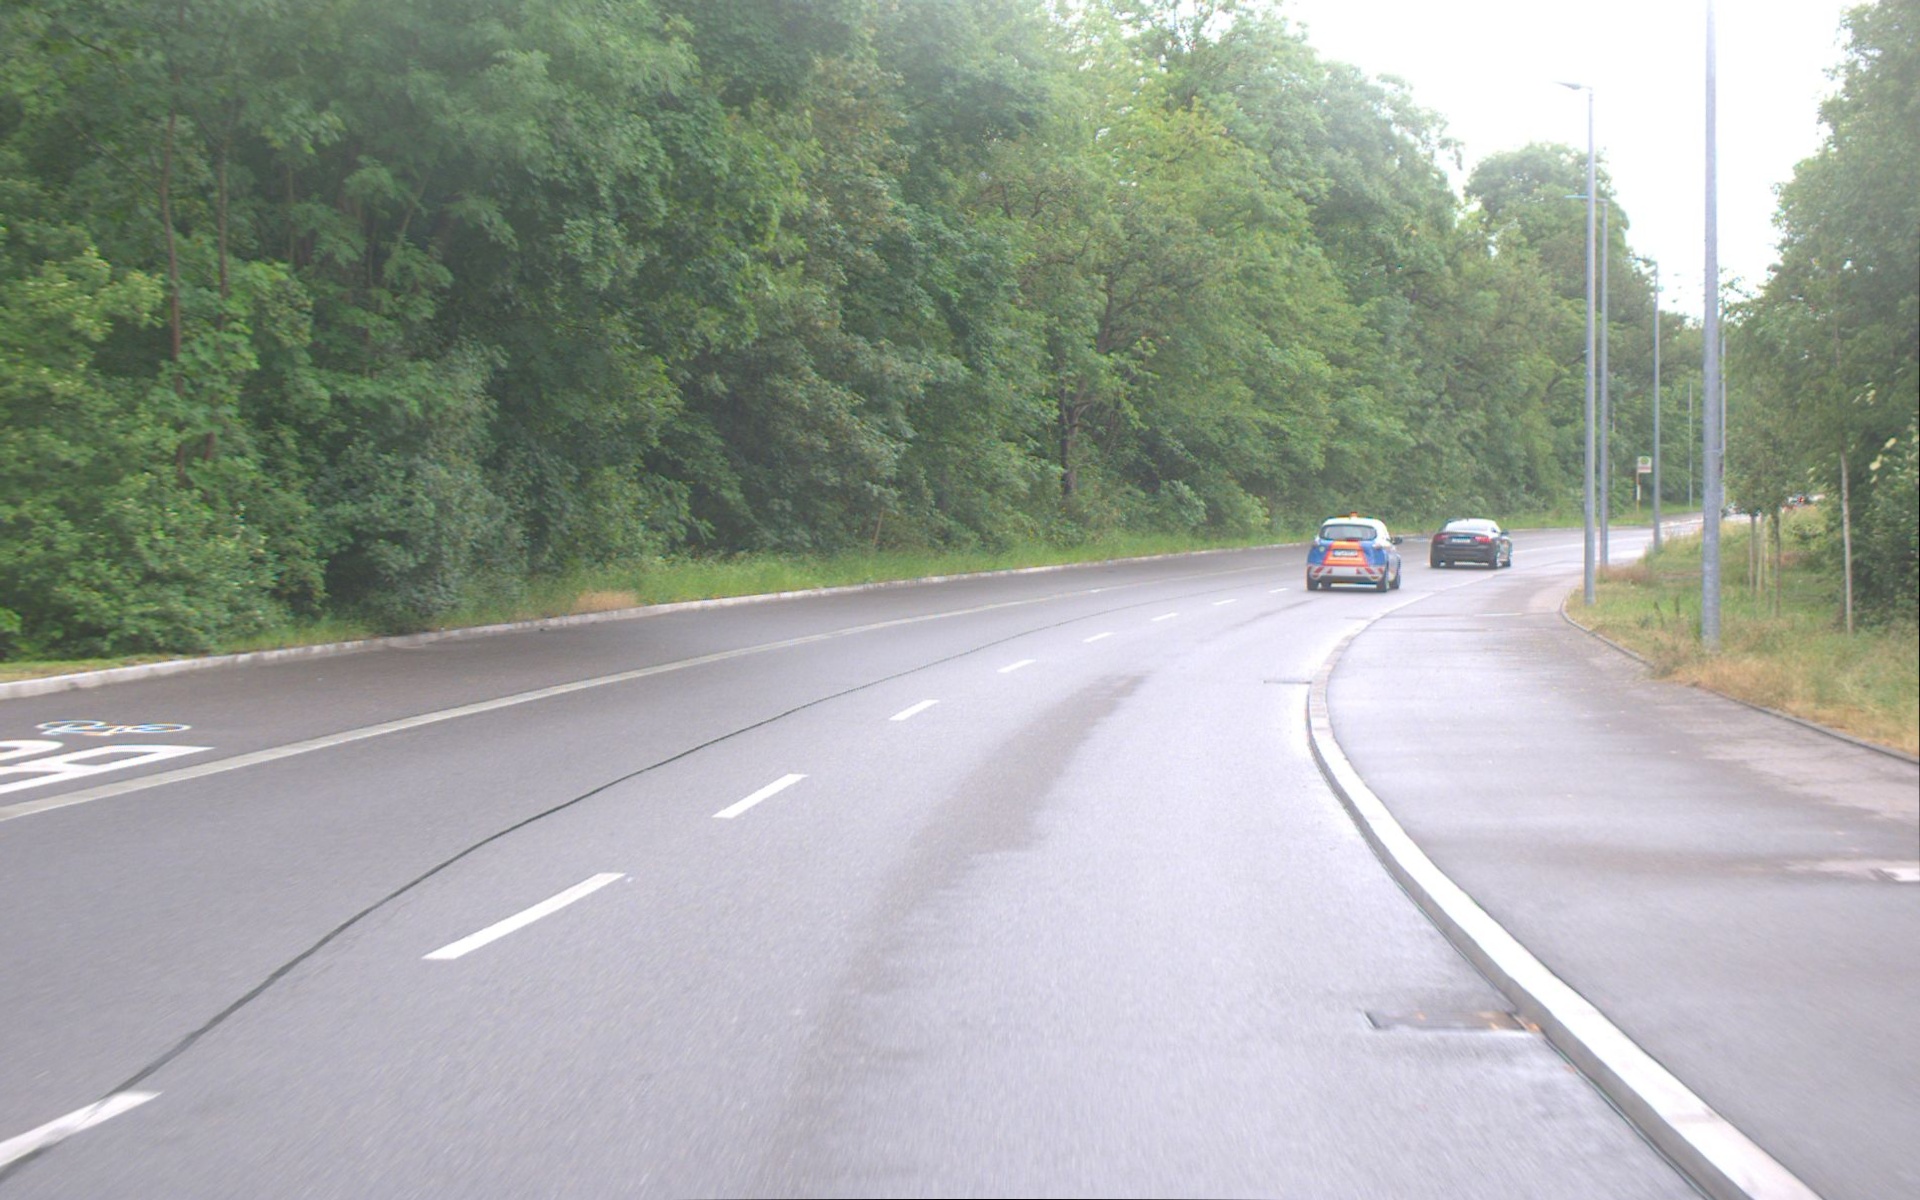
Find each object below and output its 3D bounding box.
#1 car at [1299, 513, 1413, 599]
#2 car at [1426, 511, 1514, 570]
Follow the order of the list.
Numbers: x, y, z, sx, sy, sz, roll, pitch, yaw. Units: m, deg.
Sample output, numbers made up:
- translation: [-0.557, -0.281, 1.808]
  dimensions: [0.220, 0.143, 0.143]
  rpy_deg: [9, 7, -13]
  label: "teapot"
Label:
- translation: [8.578, -0.970, 74.276]
  dimensions: [1.995, 1.683, 3.998]
  rpy_deg: [0, 3, 13]
  label: "car"
- translation: [14.209, -1.678, 95.598]
  dimensions: [1.928, 1.481, 3.797]
  rpy_deg: [0, 3, 16]
  label: "car"
